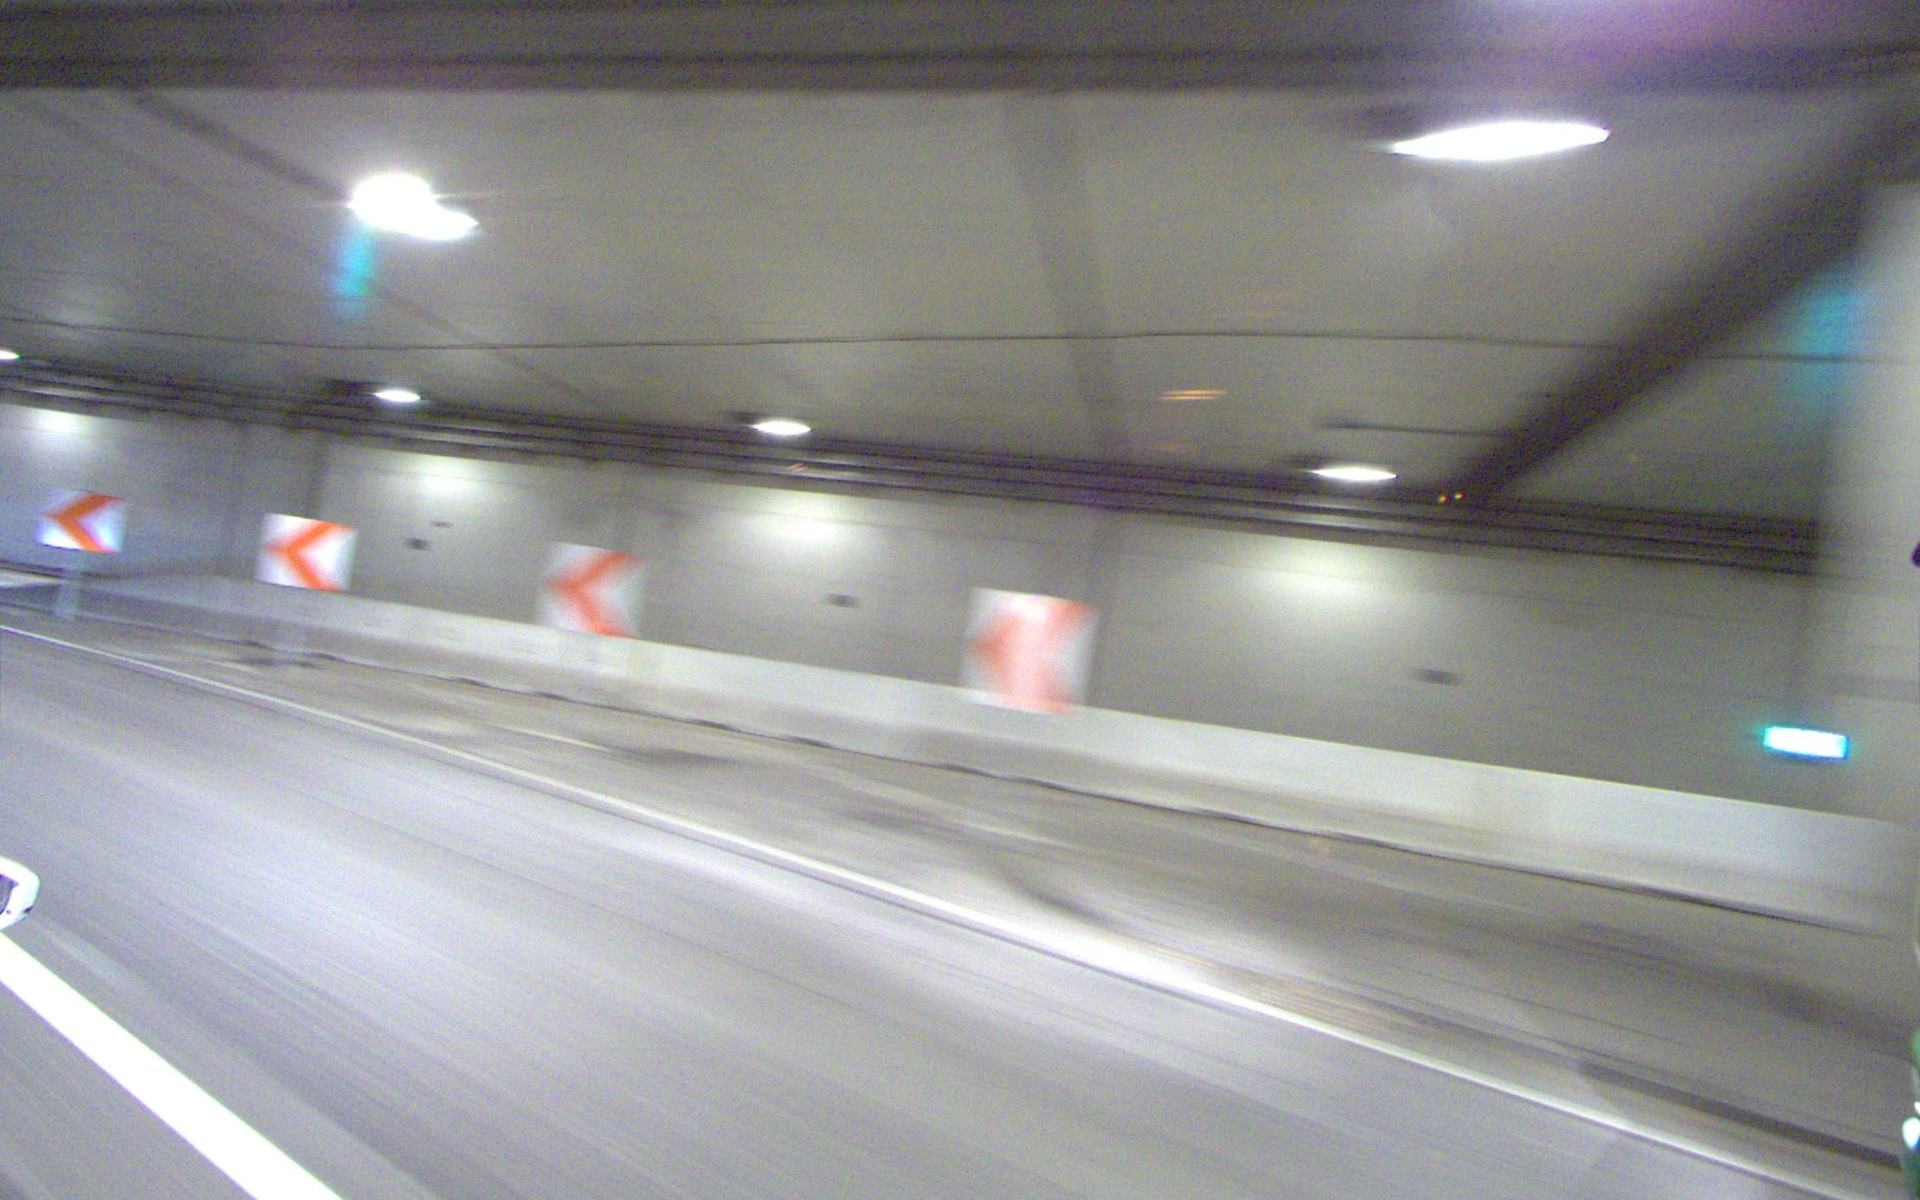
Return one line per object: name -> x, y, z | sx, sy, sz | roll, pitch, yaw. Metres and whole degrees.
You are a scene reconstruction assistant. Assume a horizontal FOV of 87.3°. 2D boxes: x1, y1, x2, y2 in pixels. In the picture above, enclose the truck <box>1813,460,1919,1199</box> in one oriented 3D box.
truck -> 5.223, 0.627, 0.184 | 7.128, 3.219, 2.557 | 8, 0, 34
